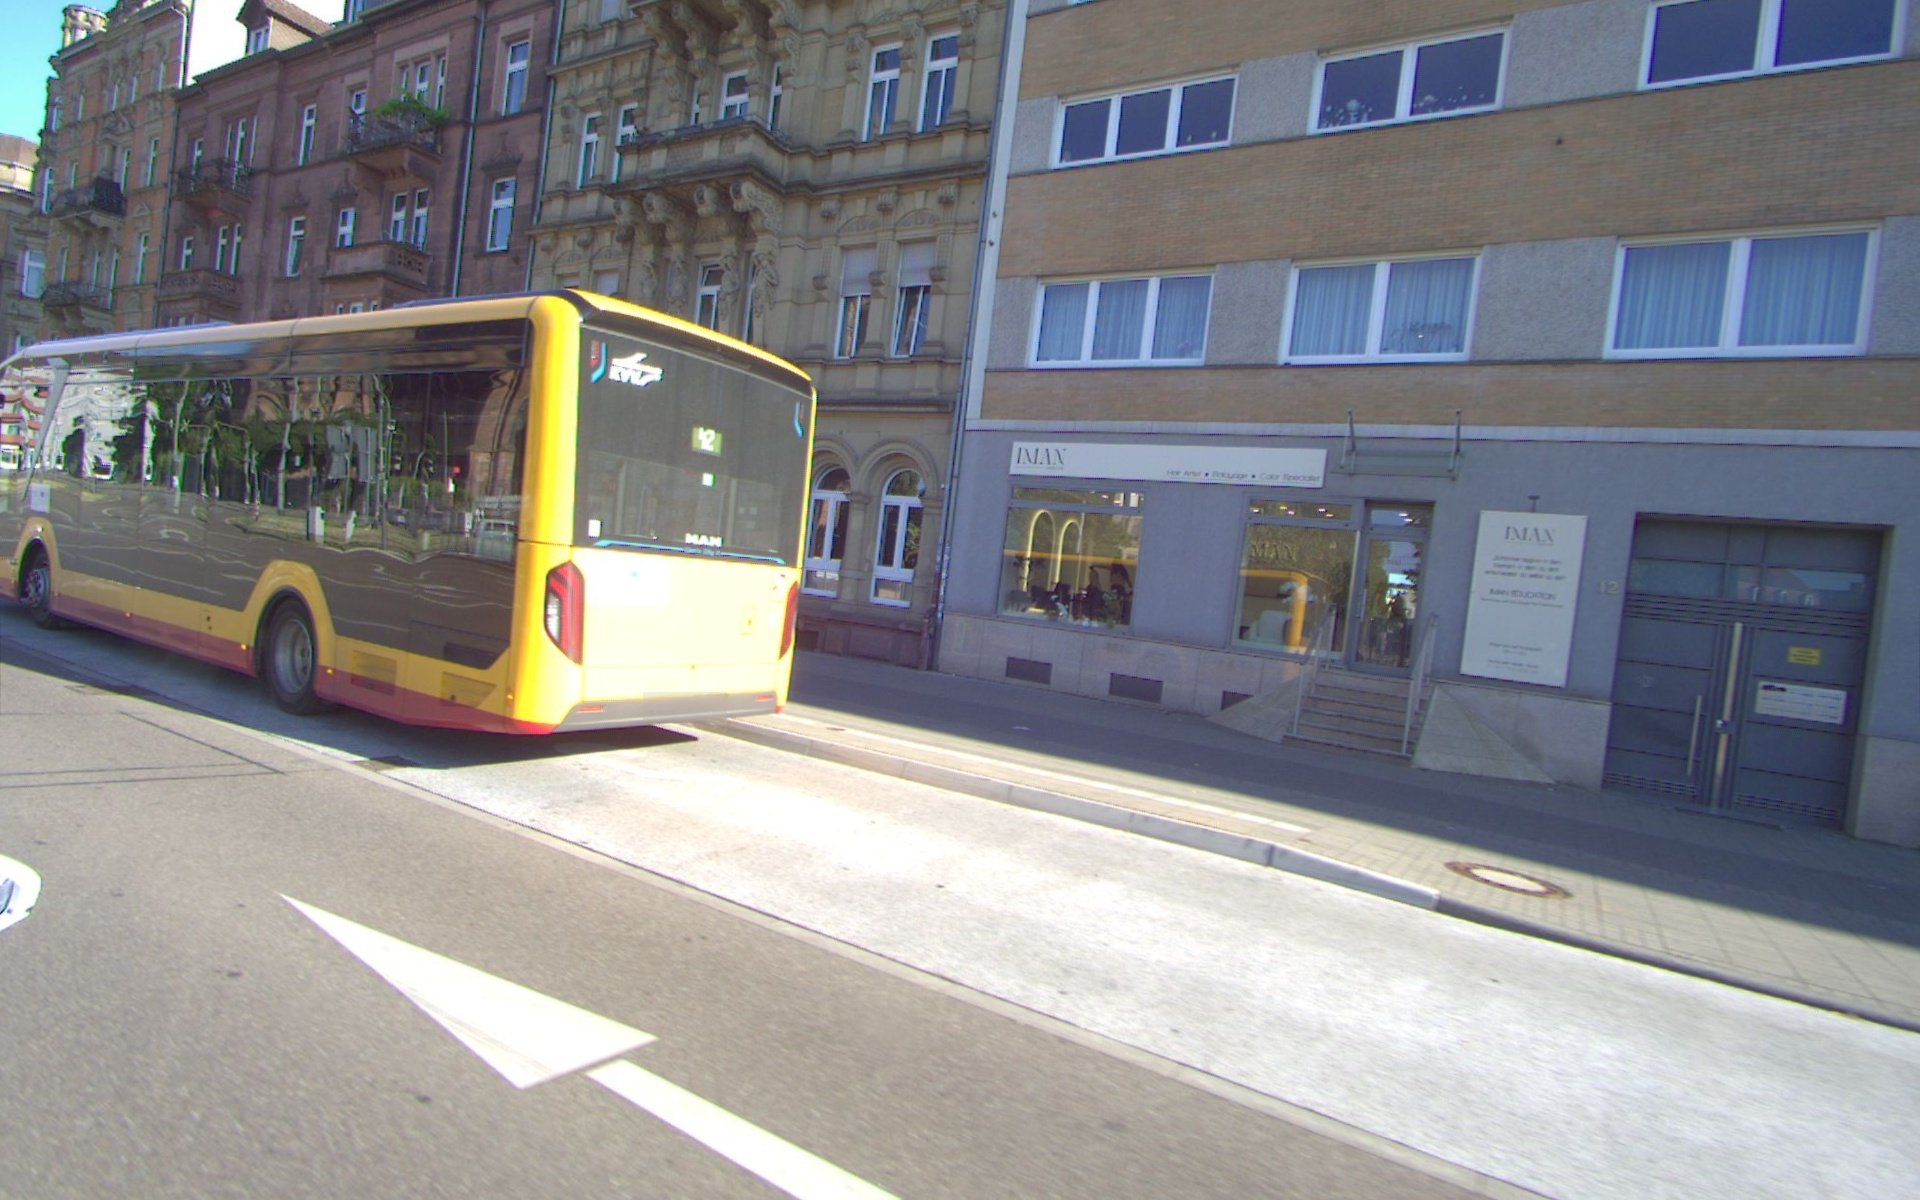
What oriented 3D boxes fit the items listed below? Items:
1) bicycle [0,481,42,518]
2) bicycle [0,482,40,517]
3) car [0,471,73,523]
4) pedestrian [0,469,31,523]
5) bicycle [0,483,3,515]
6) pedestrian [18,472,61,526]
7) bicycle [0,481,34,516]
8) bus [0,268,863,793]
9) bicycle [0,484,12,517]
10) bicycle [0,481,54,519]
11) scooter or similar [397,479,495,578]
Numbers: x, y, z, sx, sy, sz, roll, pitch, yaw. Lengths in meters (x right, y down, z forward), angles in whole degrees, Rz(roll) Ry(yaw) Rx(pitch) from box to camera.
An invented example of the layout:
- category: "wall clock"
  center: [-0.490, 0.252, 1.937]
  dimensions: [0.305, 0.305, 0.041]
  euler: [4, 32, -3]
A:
- category: "bicycle"
  center: [-36.997, -3.938, 39.095]
  dimensions: [0.481, 1.255, 1.888]
  euler: [6, 1, 19]
- category: "bicycle"
  center: [-37.451, -3.979, 39.514]
  dimensions: [0.481, 1.255, 1.888]
  euler: [6, 1, 19]
- category: "car"
  center: [-47.833, -5.321, 50.407]
  dimensions: [1.745, 2.150, 4.585]
  euler: [10, 1, 30]
- category: "pedestrian"
  center: [-31.619, -3.472, 33.425]
  dimensions: [1.118, 1.677, 0.703]
  euler: [7, 1, 32]
- category: "bicycle"
  center: [-39.577, -4.154, 40.169]
  dimensions: [0.481, 1.255, 1.888]
  euler: [6, 1, 19]
- category: "pedestrian"
  center: [-31.217, -3.434, 34.115]
  dimensions: [1.118, 1.677, 0.703]
  euler: [7, 1, 32]
- category: "bicycle"
  center: [-37.952, -4.072, 39.790]
  dimensions: [0.481, 1.255, 1.888]
  euler: [6, 1, 19]
- category: "bus"
  center: [-6.877, -1.001, 10.581]
  dimensions: [12.333, 3.222, 2.716]
  euler: [7, 2, 32]
- category: "bicycle"
  center: [-39.019, -4.057, 39.990]
  dimensions: [0.481, 1.255, 1.888]
  euler: [6, 1, 19]
- category: "bicycle"
  center: [-36.440, -3.875, 38.998]
  dimensions: [0.481, 1.255, 1.888]
  euler: [6, 1, 19]
- category: "scooter or similar"
  center: [-7.251, -1.011, 14.186]
  dimensions: [1.271, 1.265, 0.432]
  euler: [6, 2, 22]
